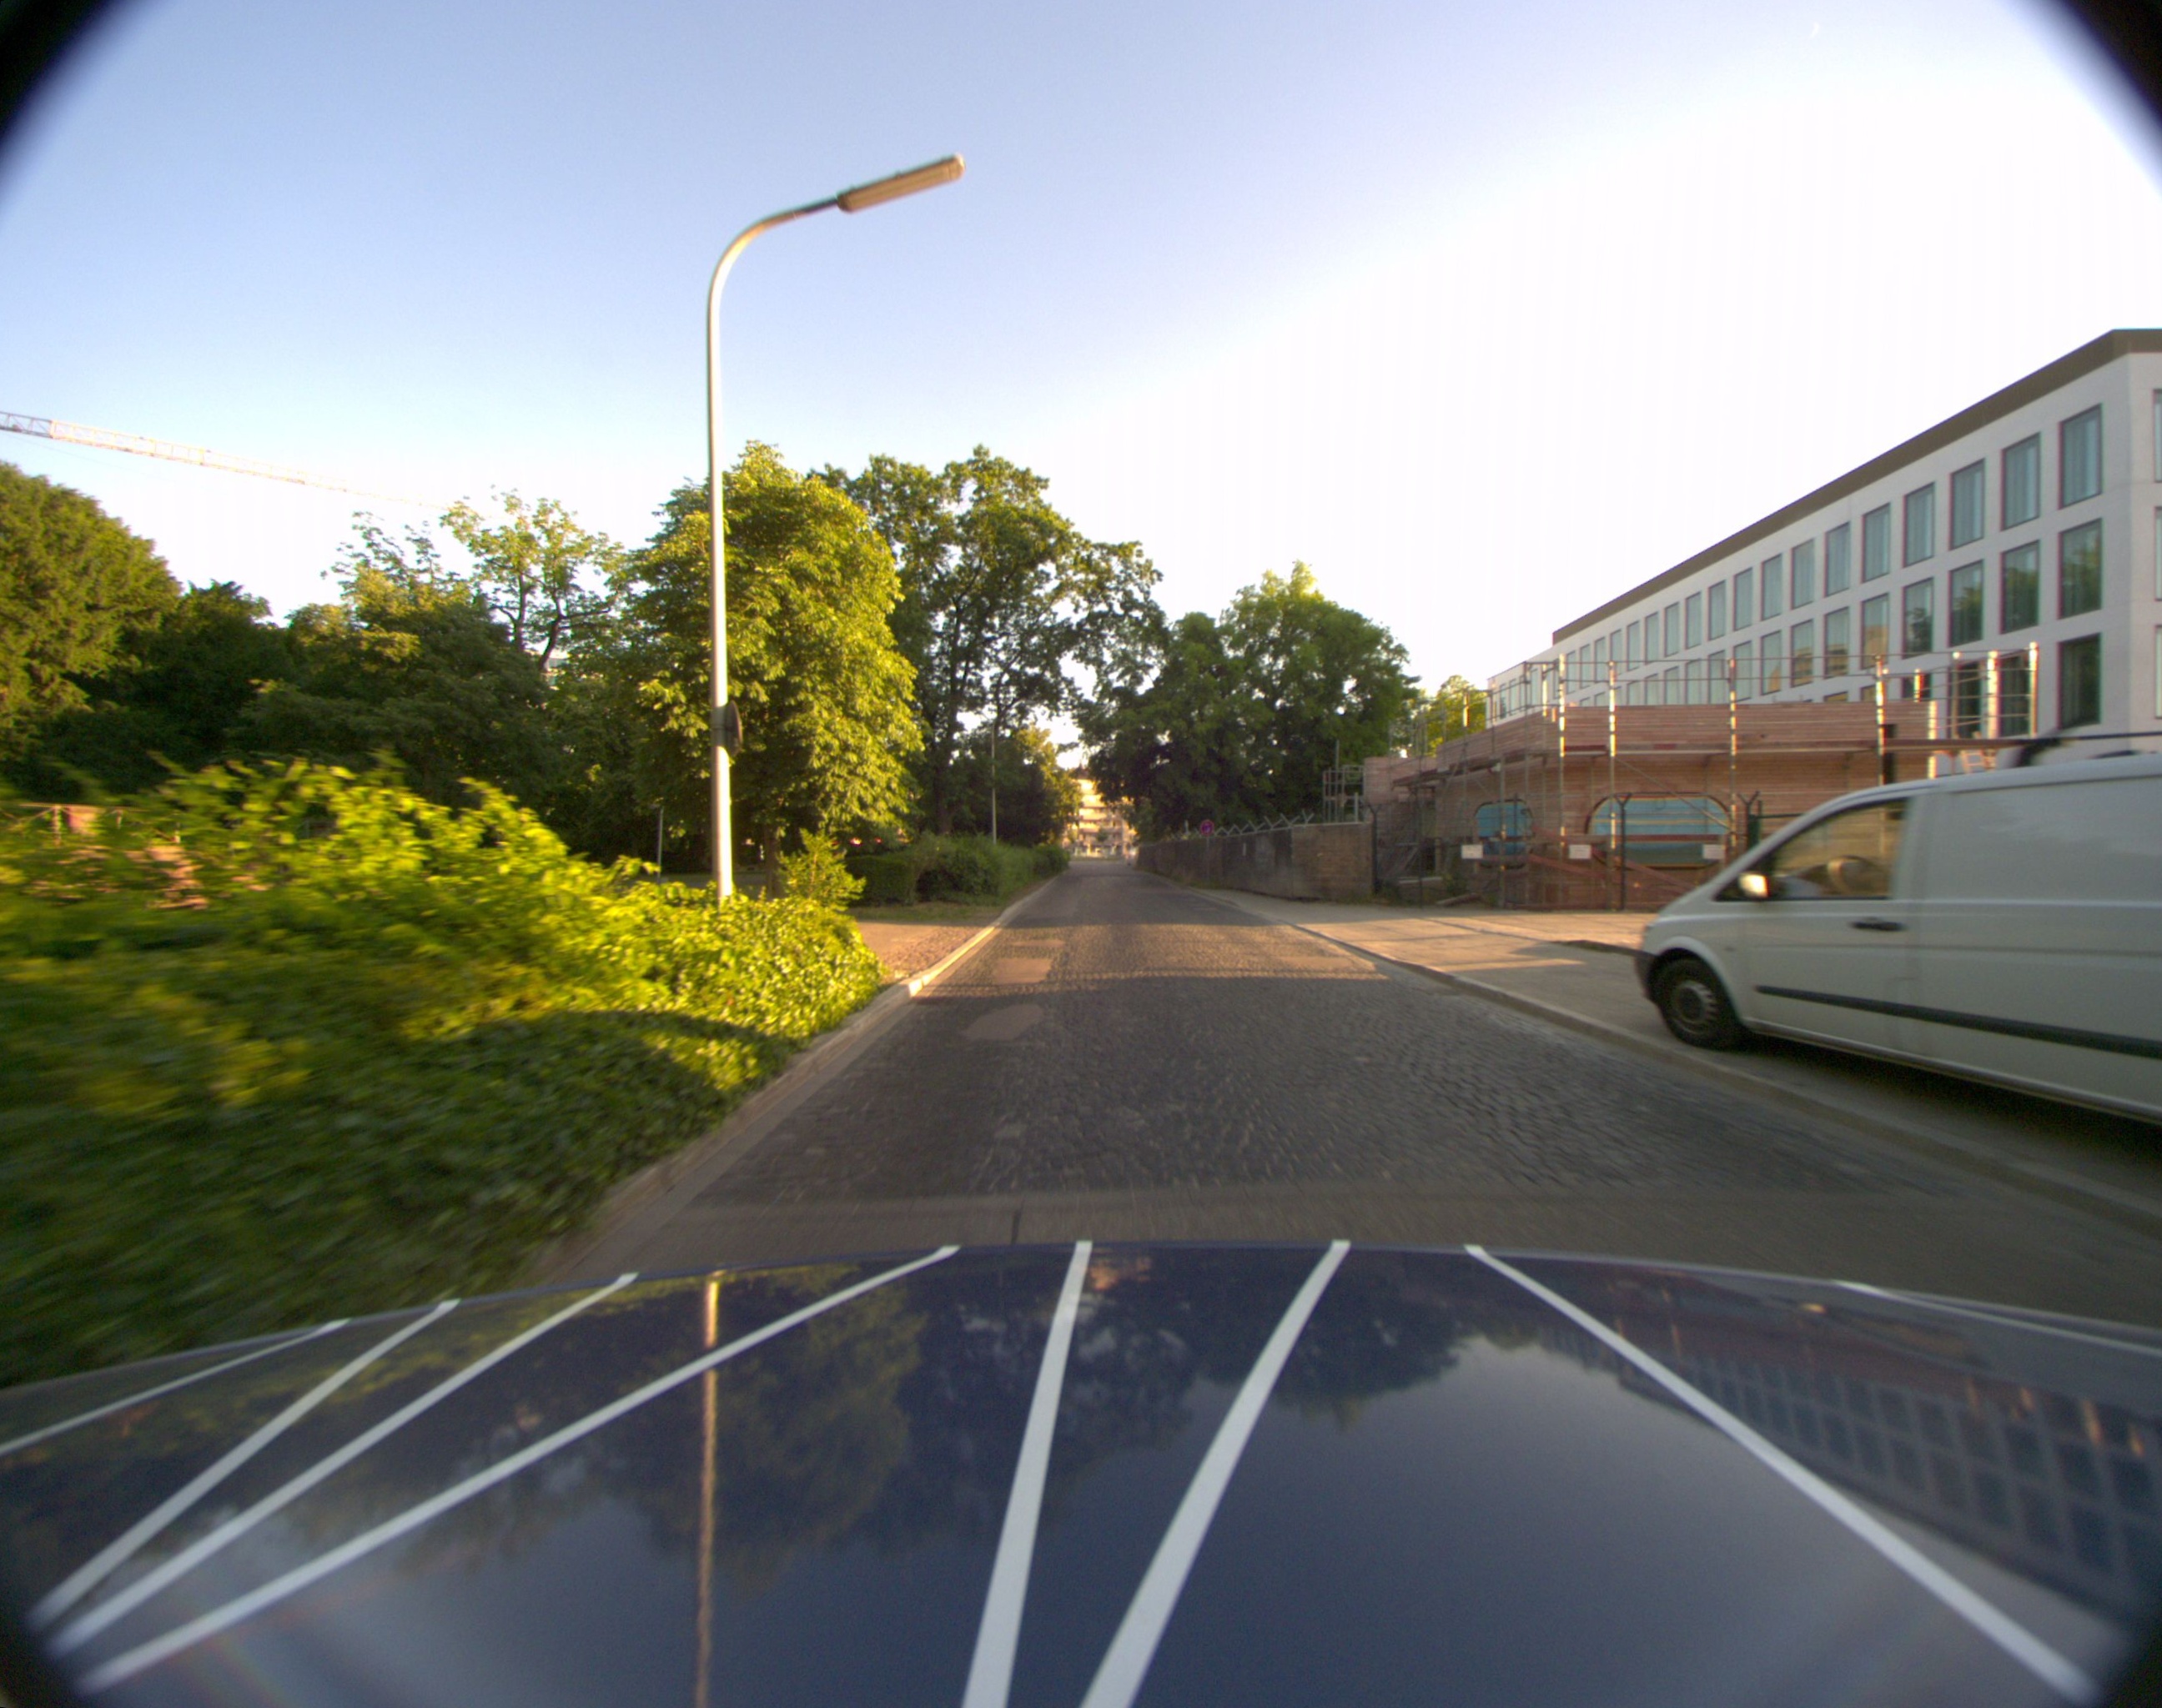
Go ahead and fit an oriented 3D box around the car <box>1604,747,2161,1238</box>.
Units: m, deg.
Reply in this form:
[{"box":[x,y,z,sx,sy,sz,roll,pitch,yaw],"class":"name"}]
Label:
[{"box":[5.303,0.516,3.617,1.887,2.002,5.225,-3,1,-1],"class":"car"}]
